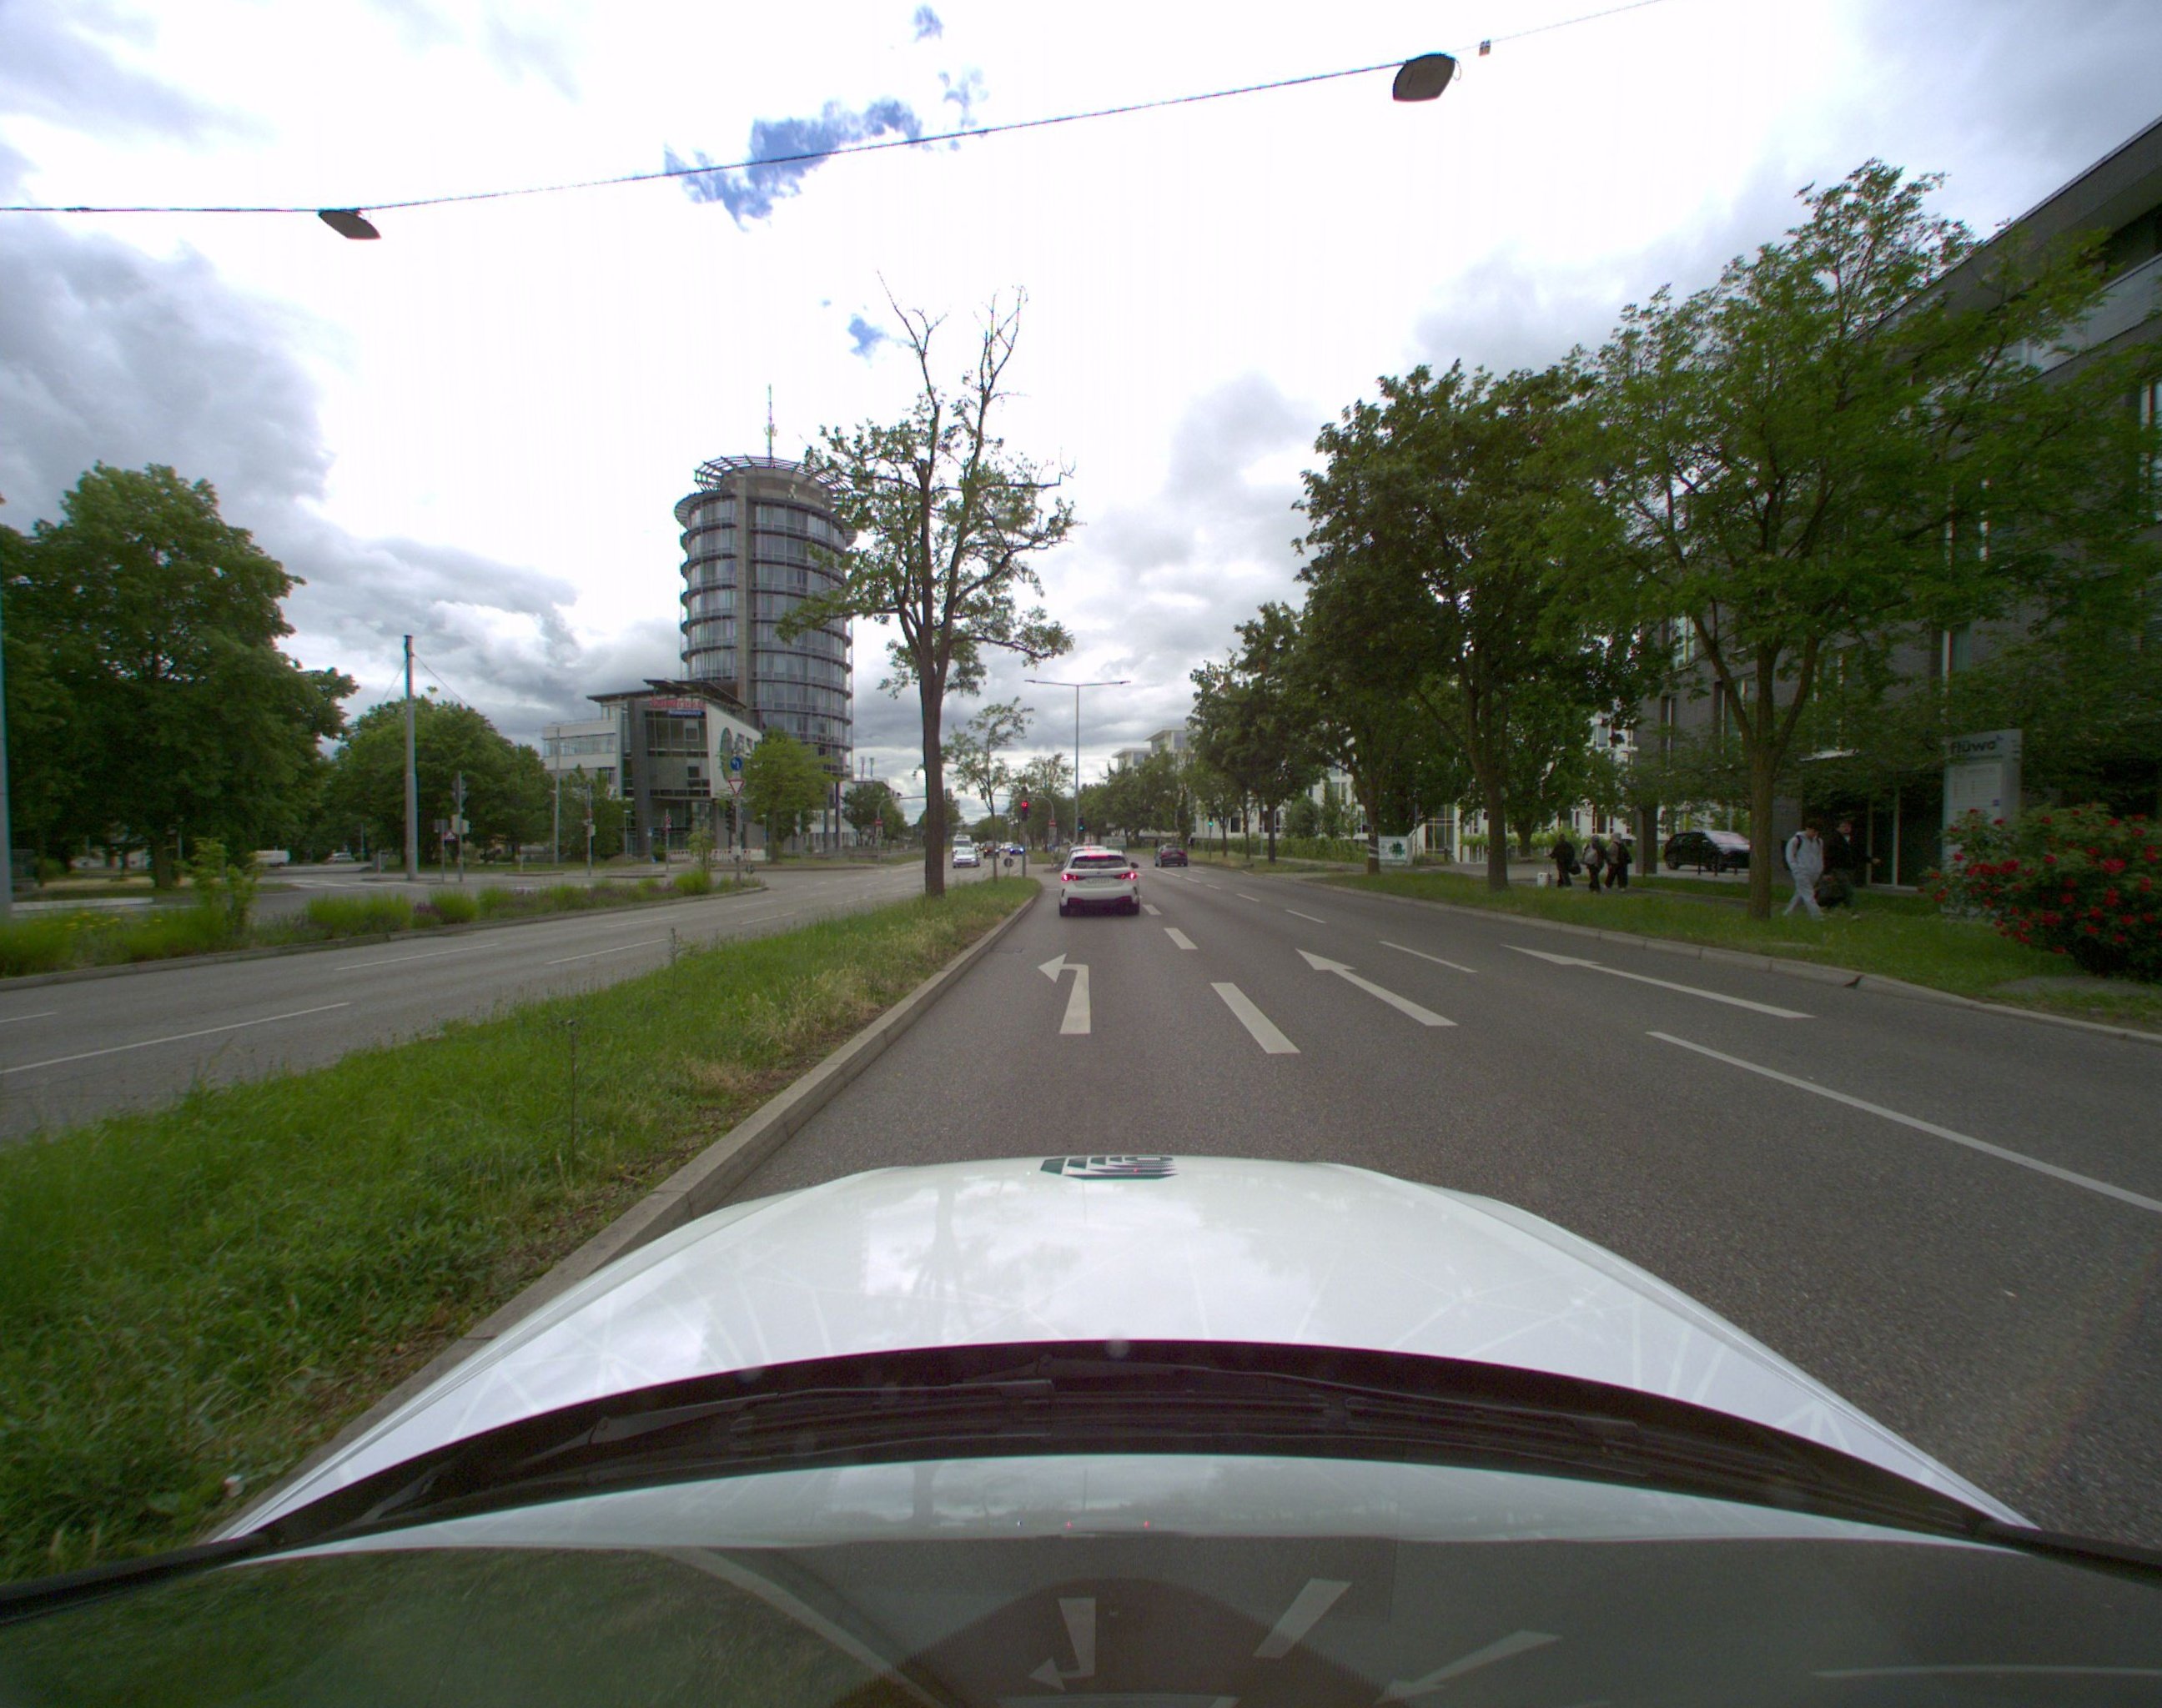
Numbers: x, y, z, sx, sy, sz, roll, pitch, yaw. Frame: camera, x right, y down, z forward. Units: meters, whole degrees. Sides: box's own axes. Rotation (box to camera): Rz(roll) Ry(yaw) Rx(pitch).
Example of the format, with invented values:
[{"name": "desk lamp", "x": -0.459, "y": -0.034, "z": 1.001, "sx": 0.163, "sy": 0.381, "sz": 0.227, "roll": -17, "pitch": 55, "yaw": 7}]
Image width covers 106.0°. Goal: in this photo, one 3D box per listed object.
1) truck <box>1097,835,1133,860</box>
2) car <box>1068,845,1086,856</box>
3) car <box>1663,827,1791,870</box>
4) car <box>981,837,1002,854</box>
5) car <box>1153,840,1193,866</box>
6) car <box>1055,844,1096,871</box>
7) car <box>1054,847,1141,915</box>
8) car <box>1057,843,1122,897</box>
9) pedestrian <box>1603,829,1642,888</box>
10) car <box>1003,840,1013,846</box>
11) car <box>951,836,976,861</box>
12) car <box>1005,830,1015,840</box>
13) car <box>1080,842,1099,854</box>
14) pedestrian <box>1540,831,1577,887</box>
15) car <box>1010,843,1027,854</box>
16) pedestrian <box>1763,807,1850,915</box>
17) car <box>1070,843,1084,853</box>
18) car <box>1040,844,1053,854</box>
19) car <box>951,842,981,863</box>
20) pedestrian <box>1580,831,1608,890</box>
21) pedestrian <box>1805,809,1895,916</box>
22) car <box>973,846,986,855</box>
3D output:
[{"name": "truck", "x": 3.492, "y": -0.685, "z": 85.194, "sx": 2.855, "sy": 2.519, "sz": 6.275, "roll": 0, "pitch": 0, "yaw": -6}, {"name": "car", "x": -0.588, "y": -0.528, "z": 120.076, "sx": 1.994, "sy": 1.508, "sz": 3.985, "roll": -1, "pitch": 1, "yaw": -11}, {"name": "car", "x": 24.941, "y": -0.216, "z": 31.652, "sx": 1.817, "sy": 1.552, "sz": 4.183, "roll": 0, "pitch": 0, "yaw": 3}, {"name": "car", "x": -10.356, "y": -0.933, "z": 94.608, "sx": 1.929, "sy": 1.918, "sz": 4.973, "roll": -1, "pitch": 0, "yaw": 0}, {"name": "car", "x": 5.906, "y": -0.086, "z": 52.611, "sx": 1.988, "sy": 1.596, "sz": 3.997, "roll": 0, "pitch": 1, "yaw": -2}, {"name": "car", "x": -0.289, "y": 0.209, "z": 48.661, "sx": 1.983, "sy": 1.508, "sz": 4.007, "roll": 0, "pitch": 0, "yaw": 6}, {"name": "car", "x": 0.464, "y": 0.576, "z": 19.453, "sx": 1.855, "sy": 1.449, "sz": 4.004, "roll": 0, "pitch": 0, "yaw": 3}, {"name": "car", "x": 0.337, "y": 0.492, "z": 27.063, "sx": 1.986, "sy": 1.672, "sz": 4.002, "roll": 0, "pitch": 0, "yaw": 2}, {"name": "pedestrian", "x": 14.493, "y": 0.127, "z": 21.810, "sx": 0.586, "sy": 1.552, "sz": 0.745, "roll": 0, "pitch": 0, "yaw": 6}, {"name": "car", "x": -18.226, "y": -2.742, "z": 202.642, "sx": 1.987, "sy": 1.618, "sz": 4.001, "roll": 1, "pitch": 1, "yaw": 1}, {"name": "car", "x": -12.834, "y": -0.644, "z": 89.463, "sx": 1.988, "sy": 2.634, "sz": 5.871, "roll": 1, "pitch": 1, "yaw": -2}, {"name": "car", "x": -16.128, "y": -4.318, "z": 185.388, "sx": 1.988, "sy": 2.010, "sz": 4.321, "roll": 1, "pitch": 1, "yaw": -2}, {"name": "car", "x": 1.026, "y": -0.773, "z": 104.268, "sx": 1.991, "sy": 1.508, "sz": 3.992, "roll": -1, "pitch": 1, "yaw": -6}, {"name": "pedestrian", "x": 13.384, "y": 0.130, "z": 22.849, "sx": 0.722, "sy": 1.552, "sz": 0.588, "roll": 0, "pitch": 0, "yaw": 6}, {"name": "car", "x": -8.100, "y": -0.755, "z": 105.870, "sx": 1.748, "sy": 1.371, "sz": 3.780, "roll": -1, "pitch": 1, "yaw": 1}, {"name": "pedestrian", "x": 12.400, "y": 0.098, "z": 13.951, "sx": 0.606, "sy": 1.775, "sz": 0.954, "roll": 0, "pitch": 2, "yaw": 1}, {"name": "car", "x": -0.655, "y": -0.963, "z": 123.164, "sx": 1.988, "sy": 1.490, "sz": 3.998, "roll": 0, "pitch": 1, "yaw": -2}, {"name": "car", "x": -5.437, "y": -0.780, "z": 130.081, "sx": 1.988, "sy": 1.490, "sz": 3.998, "roll": 0, "pitch": 1, "yaw": -2}, {"name": "car", "x": -8.565, "y": -0.138, "z": 60.936, "sx": 1.748, "sy": 1.444, "sz": 4.132, "roll": 1, "pitch": 1, "yaw": -2}, {"name": "pedestrian", "x": 13.738, "y": 0.179, "z": 21.813, "sx": 0.407, "sy": 1.552, "sz": 0.562, "roll": 0, "pitch": 0, "yaw": 6}, {"name": "pedestrian", "x": 13.181, "y": 0.114, "z": 13.989, "sx": 0.606, "sy": 1.775, "sz": 0.954, "roll": 0, "pitch": 2, "yaw": 1}, {"name": "car", "x": -17.069, "y": -0.660, "z": 137.421, "sx": 1.702, "sy": 1.419, "sz": 3.803, "roll": -1, "pitch": 1, "yaw": 1}]
